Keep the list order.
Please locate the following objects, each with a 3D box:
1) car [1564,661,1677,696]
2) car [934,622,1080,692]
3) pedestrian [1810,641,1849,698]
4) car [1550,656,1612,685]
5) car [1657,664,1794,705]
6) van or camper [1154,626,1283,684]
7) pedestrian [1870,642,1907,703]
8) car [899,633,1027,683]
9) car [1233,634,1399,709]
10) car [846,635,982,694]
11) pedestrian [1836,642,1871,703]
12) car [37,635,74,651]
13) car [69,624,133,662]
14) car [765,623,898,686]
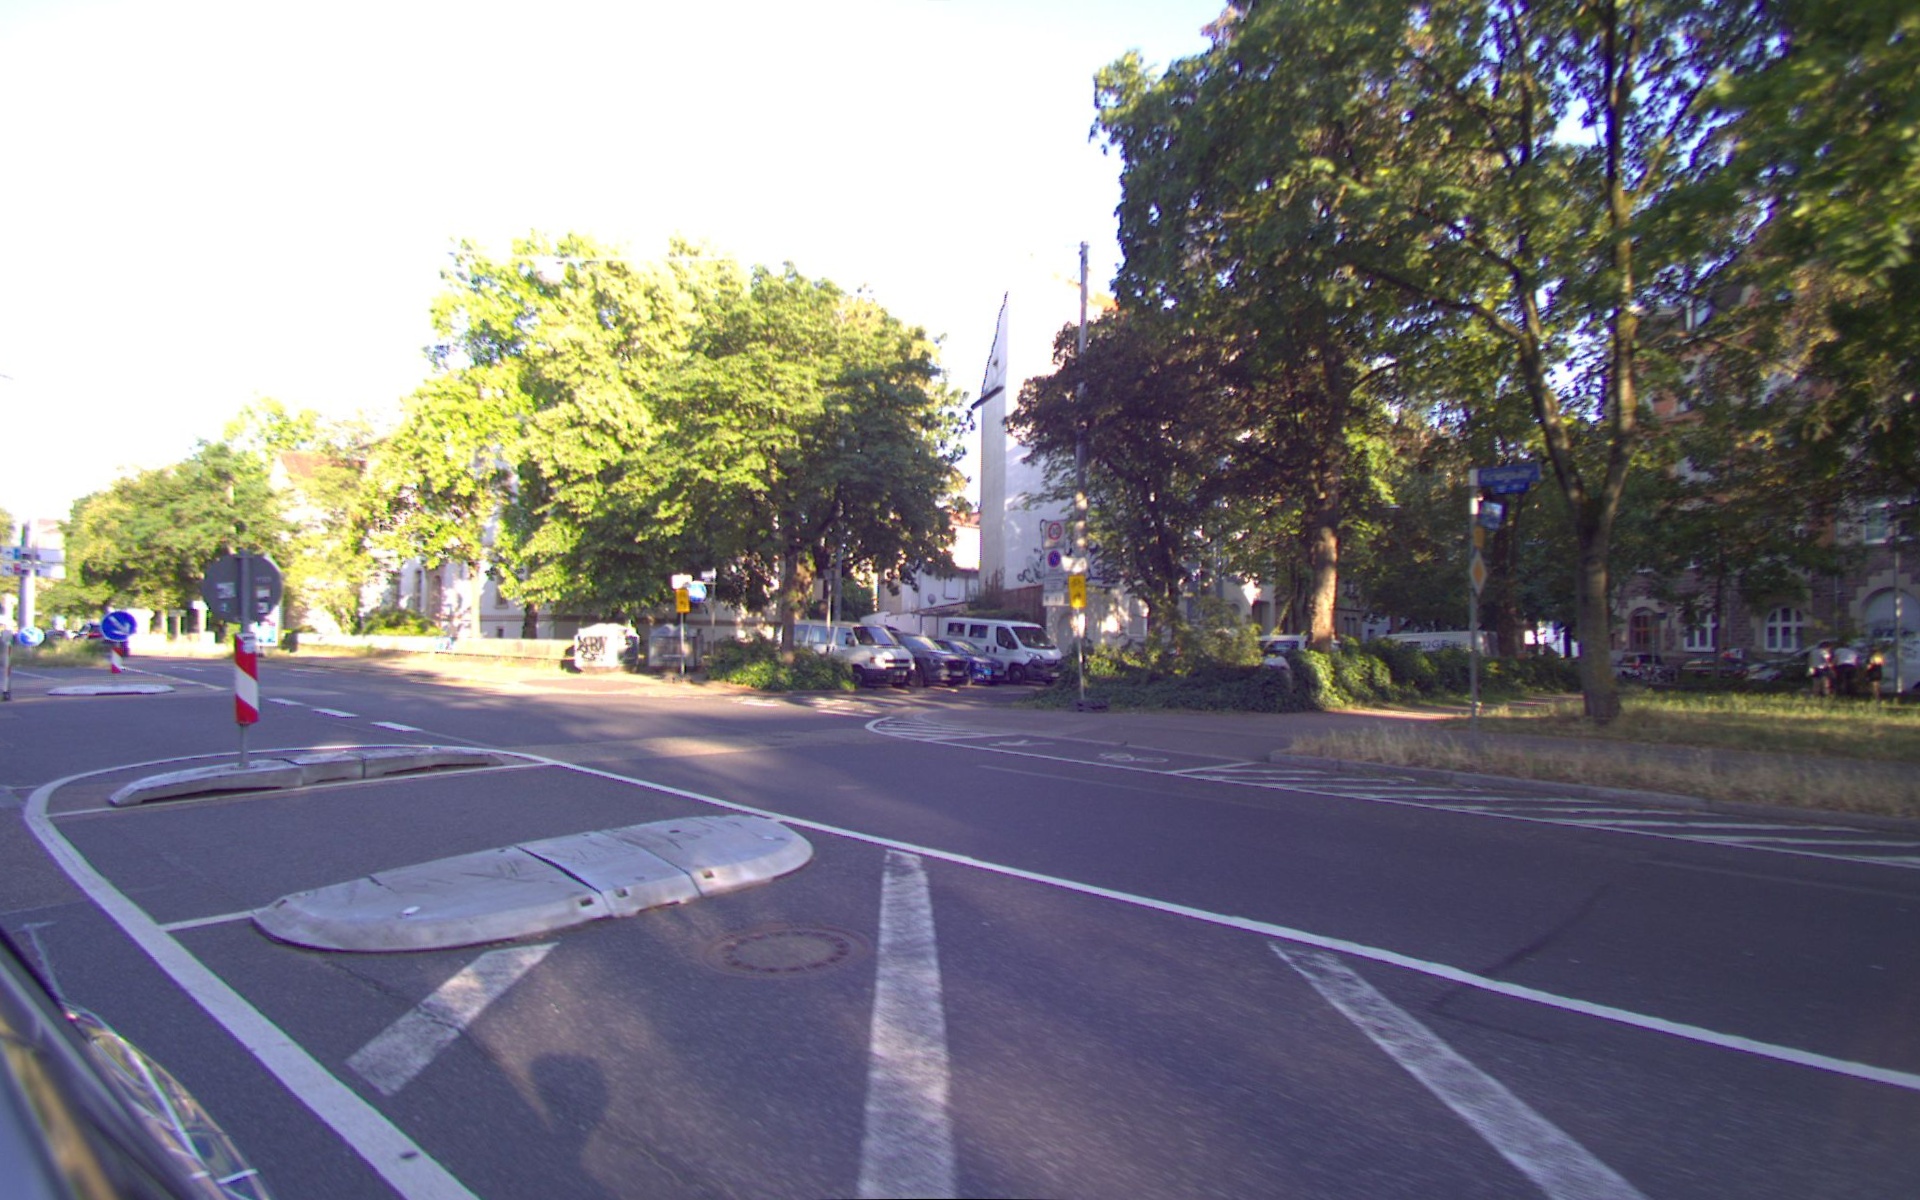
[{"bbox_3d":[29.157,3.445,44.836,1.863,1.409,4.009,1,-2,-12],"label":"car"},{"bbox_3d":[1.586,1.930,35.875,2.189,2.306,5.103,2,-2,-43],"label":"car"},{"bbox_3d":[21.645,1.728,25.198,0.450,1.406,0.560,1,-2,-16],"label":"pedestrian"},{"bbox_3d":[36.490,4.100,59.404,4.670,1.610,2.002,3,-3,-44],"label":"car"},{"bbox_3d":[29.980,3.281,39.783,1.863,1.409,4.009,1,-2,-12],"label":"car"},{"bbox_3d":[11.722,2.453,46.181,5.427,2.490,2.043,-1,-2,43],"label":"van or camper"},{"bbox_3d":[21.689,1.683,23.647,0.558,1.406,0.452,-1,-3,37],"label":"pedestrian"},{"bbox_3d":[0.068,1.877,33.861,3.997,1.551,1.973,-1,-2,40],"label":"car"},{"bbox_3d":[10.050,1.944,28.689,3.997,1.896,1.973,-1,-1,40],"label":"car"},{"bbox_3d":[-1.469,1.963,31.736,3.997,1.674,1.973,-1,-2,40],"label":"car"},{"bbox_3d":[21.219,1.716,24.050,0.558,1.406,0.452,-1,-3,37],"label":"pedestrian"},{"bbox_3d":[-80.429,3.809,89.982,4.004,1.283,1.756,-1,-6,40],"label":"car"},{"bbox_3d":[-42.546,2.119,50.081,4.568,1.719,1.855,-1,-5,44],"label":"car"},{"bbox_3d":[-3.963,1.608,30.951,3.997,1.809,1.800,-1,-2,40],"label":"car"}]
